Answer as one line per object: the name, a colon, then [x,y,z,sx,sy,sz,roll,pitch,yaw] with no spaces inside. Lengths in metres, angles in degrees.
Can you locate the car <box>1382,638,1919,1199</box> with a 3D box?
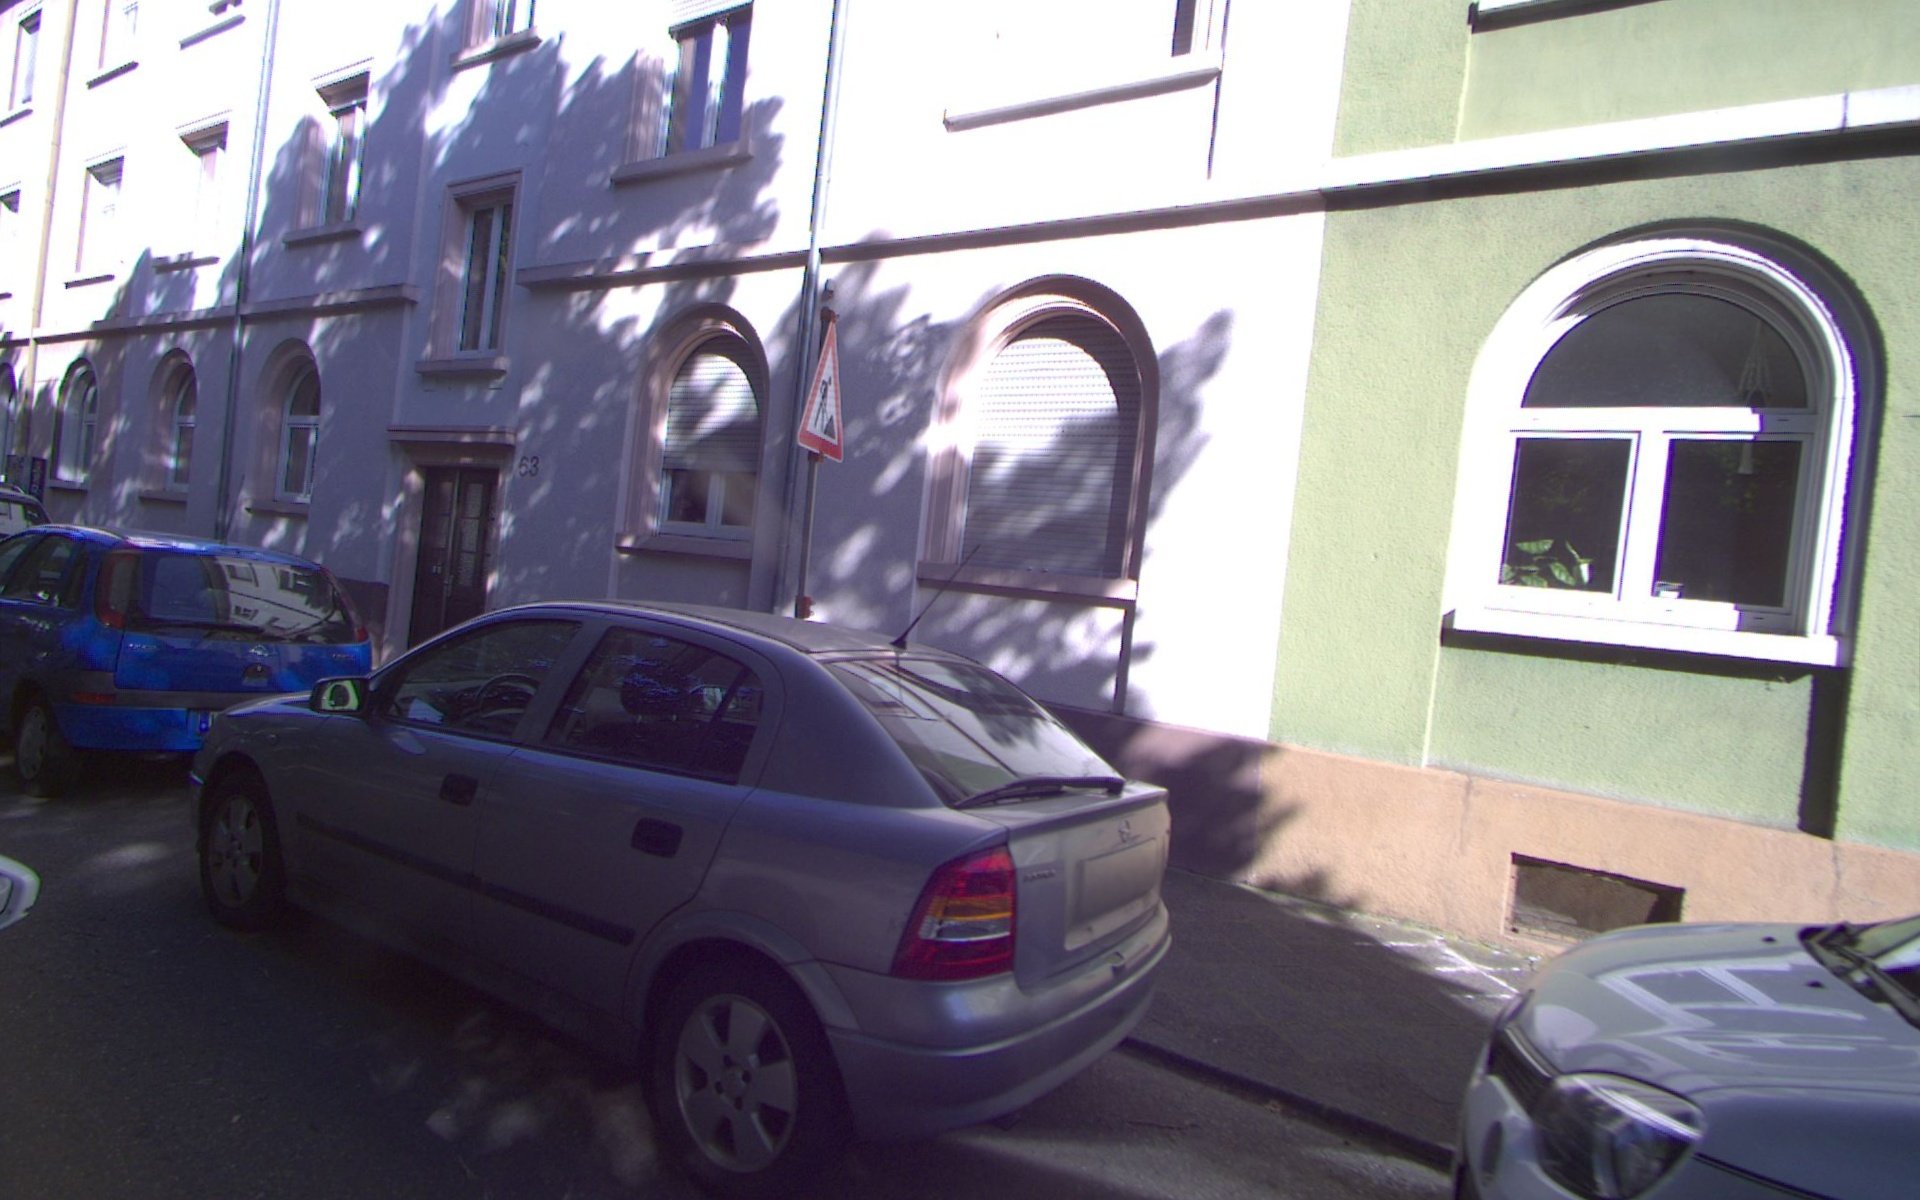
car: [2.621,1.069,1.460,3.532,1.553,1.633,7,0,30]

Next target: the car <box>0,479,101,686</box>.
car: [-9.989,-0.385,9.227,4.596,1.695,1.819,7,0,32]

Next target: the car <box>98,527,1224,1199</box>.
car: [-1.297,0.674,3.770,4.020,1.430,1.633,7,0,30]

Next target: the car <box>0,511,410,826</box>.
car: [-5.439,0.250,6.476,3.725,1.430,1.620,7,0,32]
